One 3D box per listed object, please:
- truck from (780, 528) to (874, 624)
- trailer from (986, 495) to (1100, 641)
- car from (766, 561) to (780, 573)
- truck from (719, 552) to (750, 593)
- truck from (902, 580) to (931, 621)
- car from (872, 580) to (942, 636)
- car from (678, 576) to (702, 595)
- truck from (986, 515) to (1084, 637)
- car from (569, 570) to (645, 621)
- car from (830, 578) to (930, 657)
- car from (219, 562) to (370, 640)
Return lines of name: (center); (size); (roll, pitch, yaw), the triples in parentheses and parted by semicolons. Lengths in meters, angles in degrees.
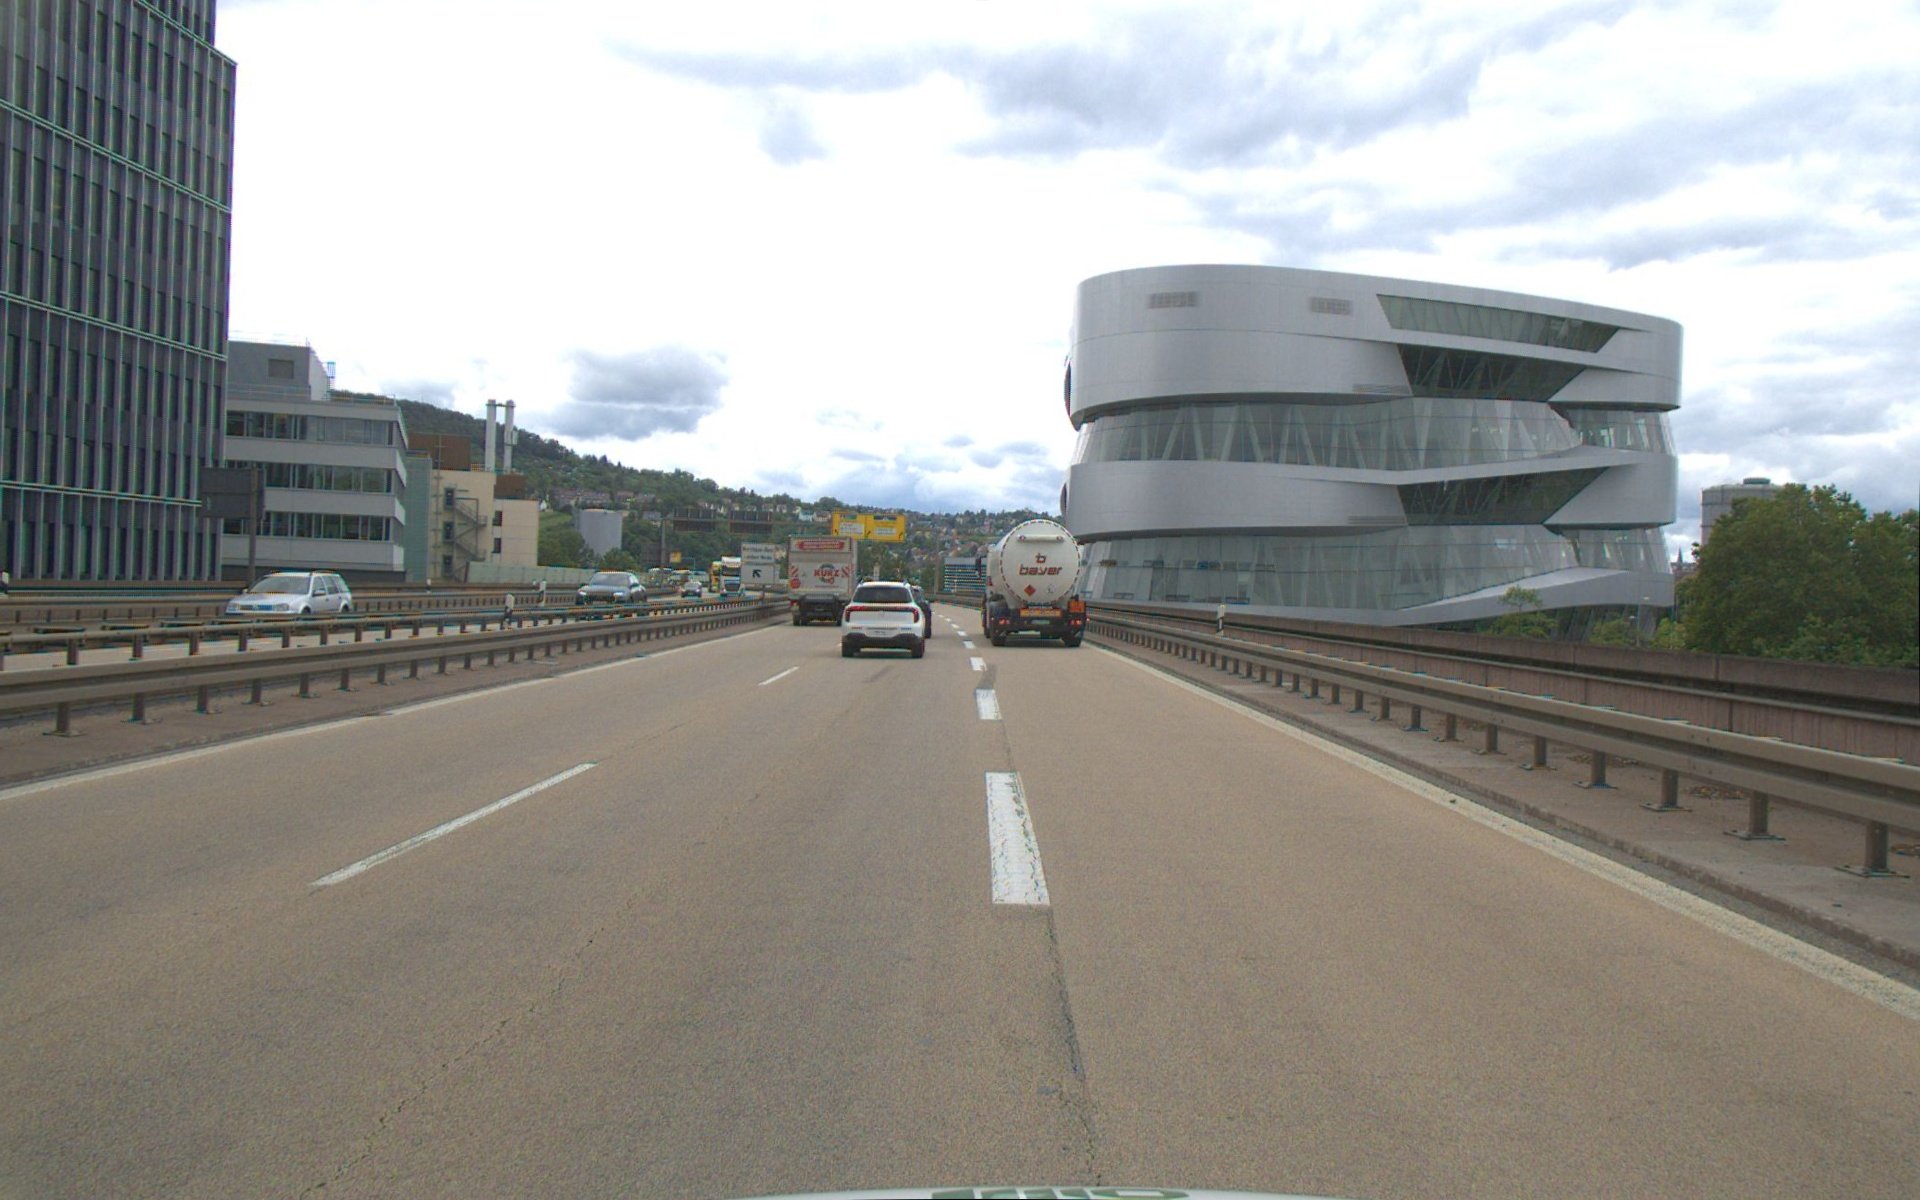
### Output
truck: (-5.456, -0.933, 69.202); (2.993, 3.755, 8.305); (1, 0, 2)
trailer: (2.327, -0.846, 48.108); (2.993, 3.856, 8.305); (1, 0, 2)
car: (-26.324, -4.662, 232.762); (1.955, 1.634, 4.800); (1, 0, -6)
truck: (-23.251, -2.806, 170.688); (2.717, 4.151, 5.642); (1, 0, -4)
truck: (-5.101, 0.027, 192.981); (2.996, 4.642, 8.297); (1, 0, -4)
car: (-1.663, 0.262, 53.306); (1.952, 1.704, 4.409); (1, 0, 2)
car: (-25.079, -1.300, 153.756); (1.649, 1.679, 4.356); (2, 0, -3)
truck: (2.350, -0.723, 53.813); (2.952, 3.721, 6.273); (1, 0, 1)
car: (-12.871, -0.152, 60.583); (1.726, 1.679, 4.335); (3, 0, 1)
car: (-1.792, 0.385, 38.462); (1.952, 1.704, 4.409); (1, 0, 2)
car: (-15.670, 0.035, 39.200); (1.648, 1.679, 4.449); (2, 0, 1)
